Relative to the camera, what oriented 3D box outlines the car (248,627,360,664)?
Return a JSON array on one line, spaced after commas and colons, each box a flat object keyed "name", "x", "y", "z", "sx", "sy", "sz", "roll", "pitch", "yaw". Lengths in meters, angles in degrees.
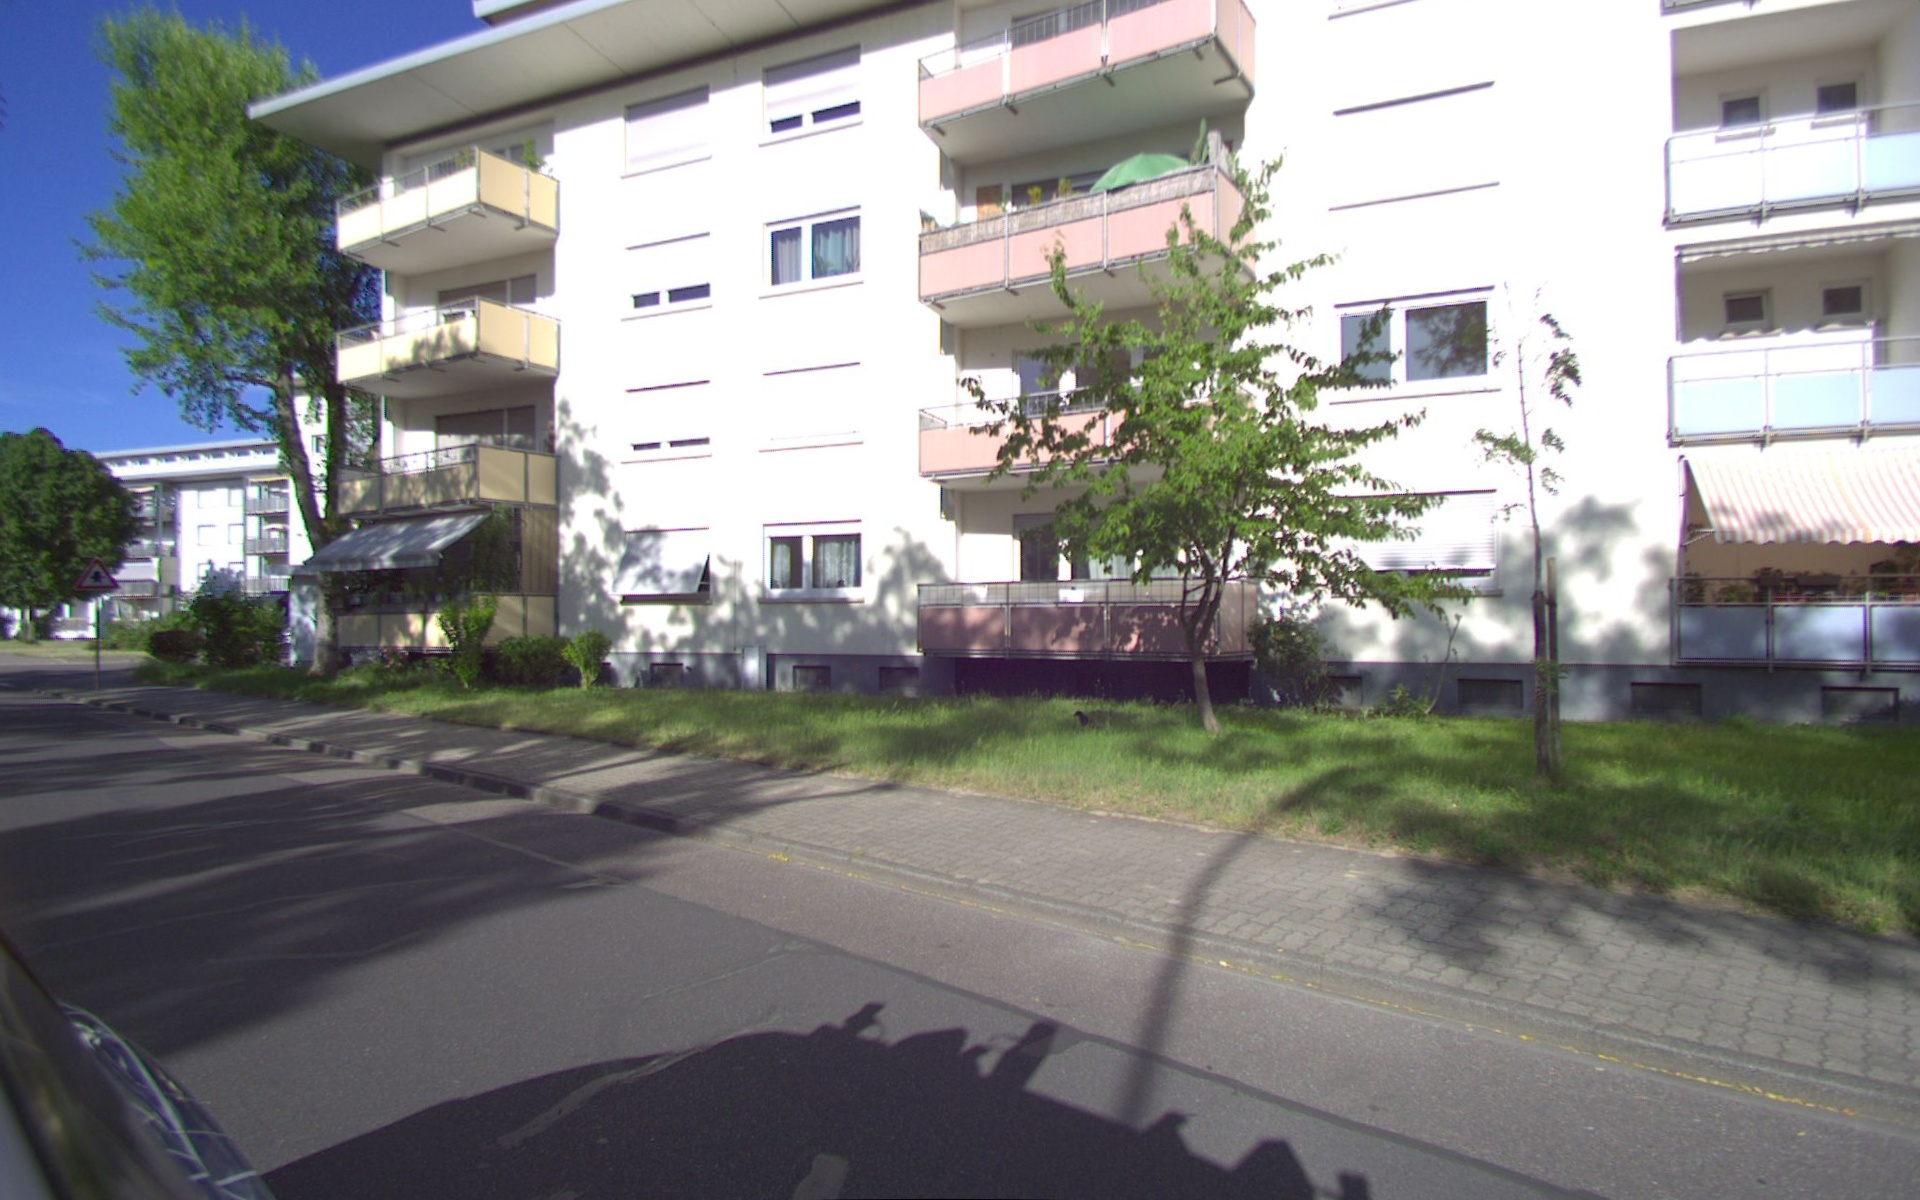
[{"name": "car", "x": -27.205, "y": 1.859, "z": 42.037, "sx": 3.674, "sy": 1.436, "sz": 1.534, "roll": 1, "pitch": -2, "yaw": -43}]
